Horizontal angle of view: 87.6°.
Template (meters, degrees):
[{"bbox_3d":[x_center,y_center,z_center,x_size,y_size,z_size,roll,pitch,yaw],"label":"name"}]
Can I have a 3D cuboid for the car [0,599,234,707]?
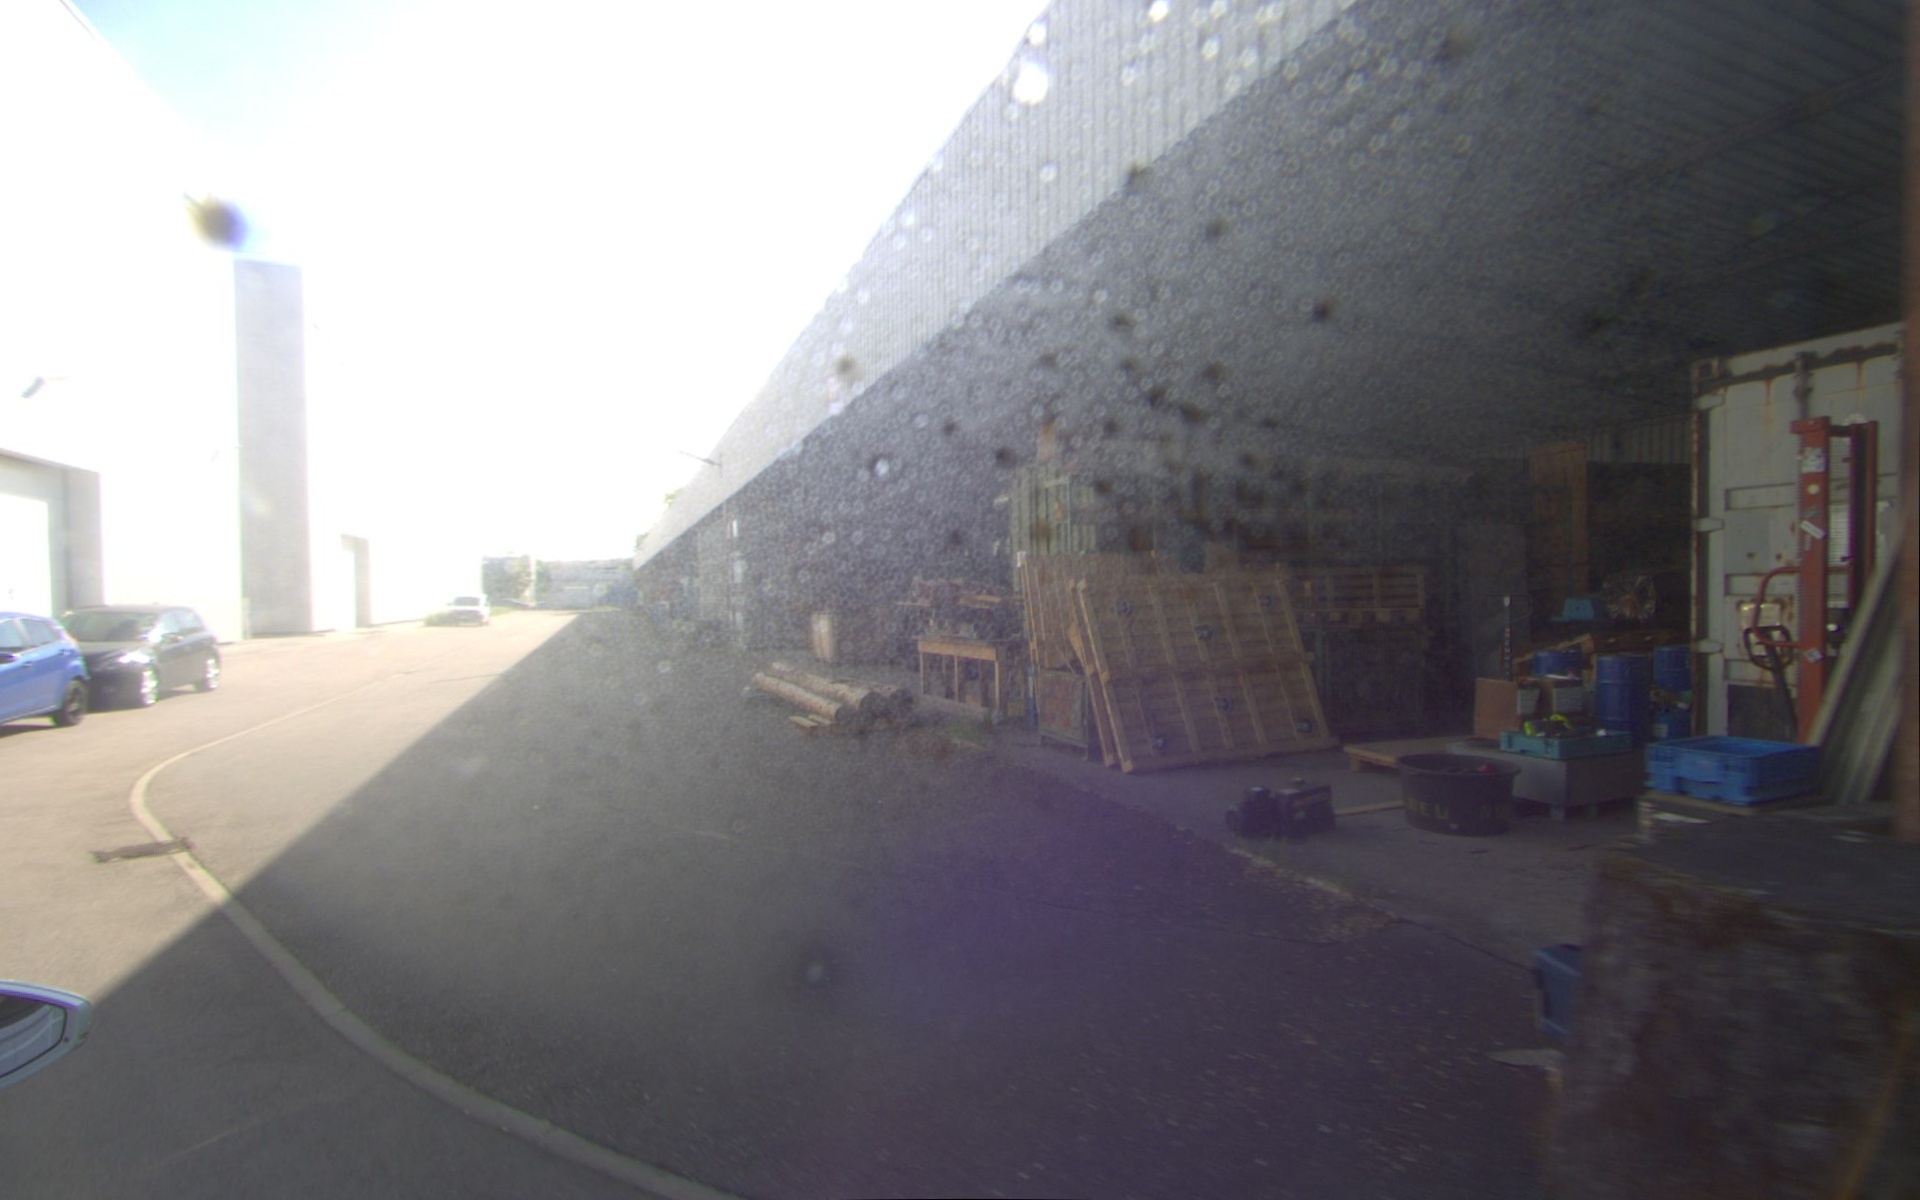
[{"bbox_3d":[-13.130,0.752,15.803,1.628,1.465,3.868,3,-1,-20],"label":"car"}]

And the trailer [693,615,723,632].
[{"bbox_3d":[-9.143,0.846,36.306,0.958,0.575,0.729,1,2,-25],"label":"trailer"}]

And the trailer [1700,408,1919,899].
[{"bbox_3d":[4.293,0.228,4.560,0.572,2.096,1.279,1,2,-23],"label":"trailer"}]

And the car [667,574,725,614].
[{"bbox_3d":[-17.298,-0.395,65.473,3.456,2.475,1.995,-2,1,-20],"label":"car"}]

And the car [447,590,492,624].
[{"bbox_3d":[-27.427,0.344,56.105,1.882,1.818,3.987,-1,1,-22],"label":"car"}]

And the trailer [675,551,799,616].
[{"bbox_3d":[-12.362,-0.924,55.439,6.301,3.416,2.816,-2,1,-21],"label":"trailer"}]

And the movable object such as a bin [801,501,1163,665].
[{"bbox_3d":[0.447,-0.400,20.383,6.839,2.944,2.678,-2,1,-20],"label":"movable object such as a bin"}]

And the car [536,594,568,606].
[{"bbox_3d":[-53.950,0.006,132.441,3.829,1.481,1.619,0,1,-18],"label":"car"}]

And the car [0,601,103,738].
[{"bbox_3d":[-11.436,0.758,11.241,1.598,1.466,3.753,1,0,-21],"label":"car"}]

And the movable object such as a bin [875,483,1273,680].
[{"bbox_3d":[1.938,-0.357,17.258,6.265,2.944,2.678,-2,1,-20],"label":"movable object such as a bin"}]

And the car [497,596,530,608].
[{"bbox_3d":[-58.838,0.256,131.916,3.832,1.481,1.618,-1,1,-21],"label":"car"}]

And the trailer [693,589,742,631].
[{"bbox_3d":[-9.604,0.389,39.553,1.526,1.540,1.905,1,2,-24],"label":"trailer"}]
